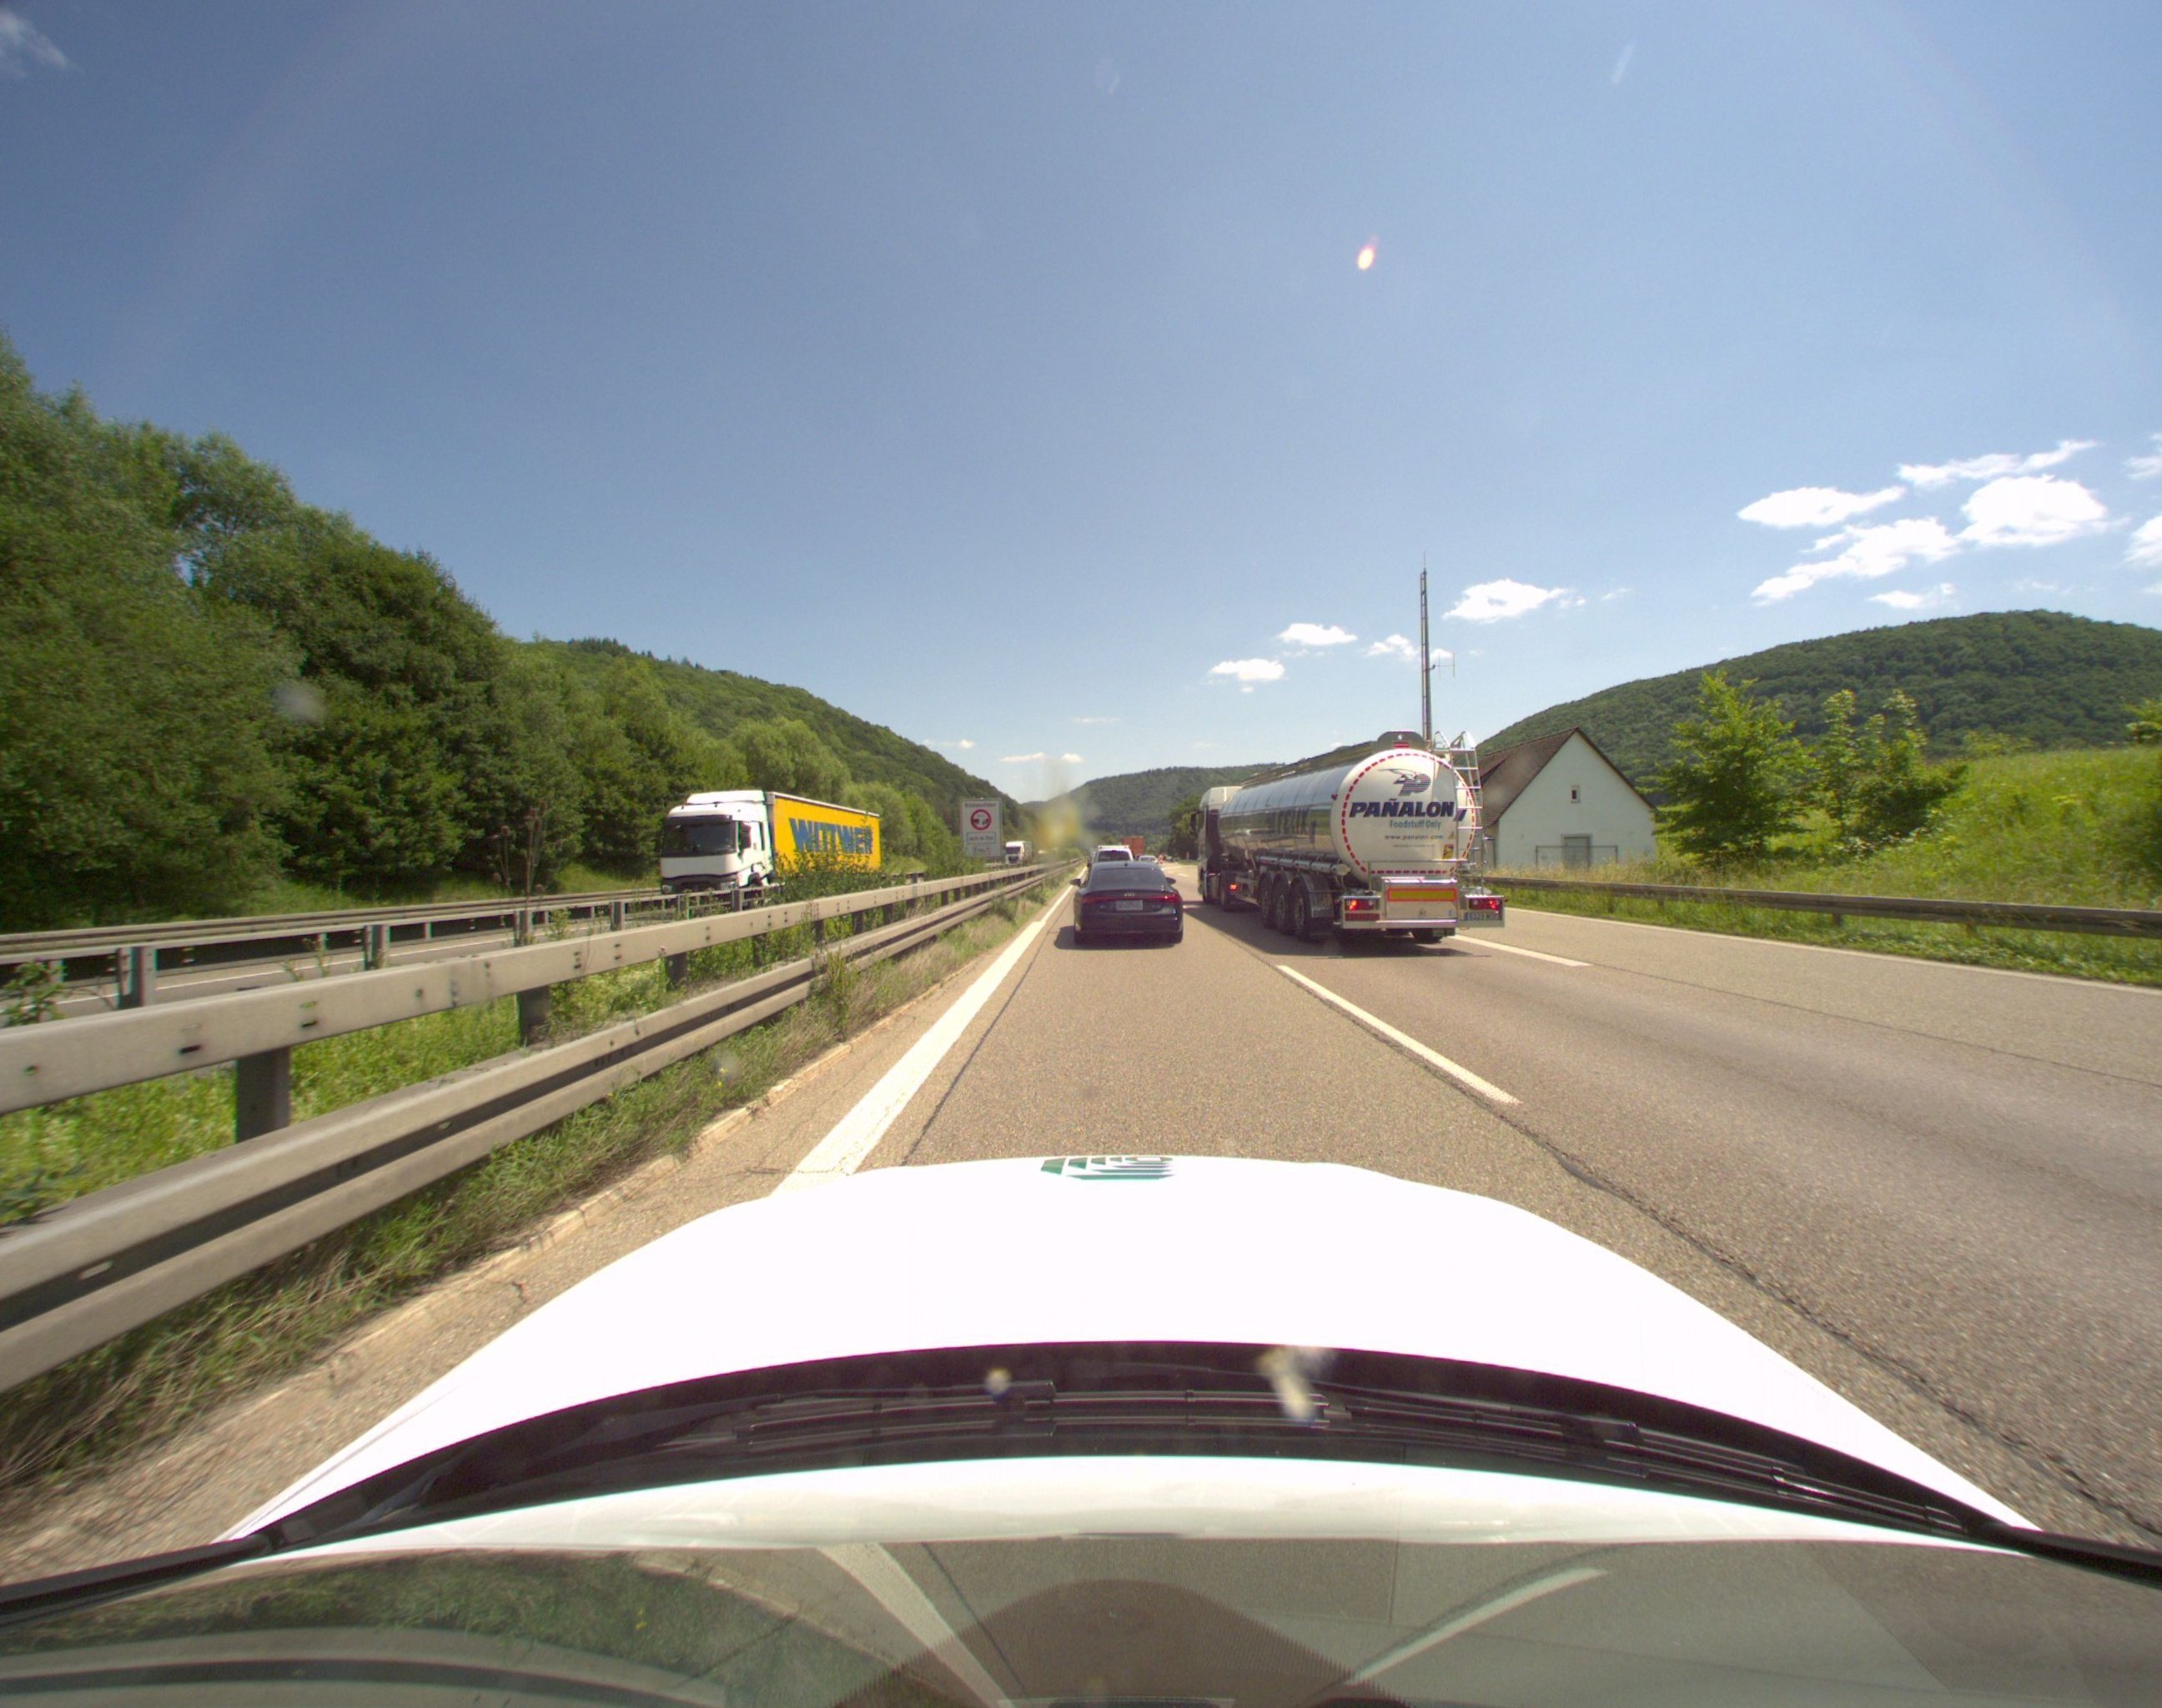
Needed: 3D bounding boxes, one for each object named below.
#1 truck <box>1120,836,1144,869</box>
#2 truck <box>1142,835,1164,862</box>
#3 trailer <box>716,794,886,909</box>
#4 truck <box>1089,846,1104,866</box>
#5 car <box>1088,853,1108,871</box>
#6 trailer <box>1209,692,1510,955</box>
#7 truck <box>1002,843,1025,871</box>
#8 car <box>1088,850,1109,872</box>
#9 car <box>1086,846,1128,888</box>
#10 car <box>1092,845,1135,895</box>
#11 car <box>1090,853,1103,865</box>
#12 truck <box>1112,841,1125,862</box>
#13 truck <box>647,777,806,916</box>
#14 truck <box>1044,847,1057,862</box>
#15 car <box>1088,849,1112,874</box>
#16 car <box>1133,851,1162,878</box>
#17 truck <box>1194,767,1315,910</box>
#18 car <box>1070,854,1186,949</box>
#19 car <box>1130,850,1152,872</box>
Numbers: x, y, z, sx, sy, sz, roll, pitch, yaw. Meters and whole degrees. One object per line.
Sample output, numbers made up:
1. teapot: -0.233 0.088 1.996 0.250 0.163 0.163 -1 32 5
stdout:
1. truck: 6.656 -0.123 107.821 2.807 4.003 14.961 -1 0 2
2. truck: 11.558 -0.829 131.827 2.807 4.003 14.961 -1 0 2
3. trailer: -11.320 -0.063 34.856 2.571 4.005 12.605 -1 0 2
4. truck: 2.900 0.329 148.853 2.619 3.440 11.424 -2 0 2
5. car: 1.605 0.704 76.101 1.705 1.618 4.002 -2 0 2
6. trailer: 4.920 -0.425 17.610 2.529 3.735 11.891 -1 0 1
7. truck: -9.906 0.494 120.465 2.718 4.001 5.371 -1 0 1
8. car: 1.692 0.689 79.833 1.987 2.013 4.000 -2 0 1
9. car: 1.280 0.630 41.311 1.986 2.014 4.001 -1 0 1
10. car: 1.248 0.598 32.075 1.570 1.833 4.001 -1 0 1
11. car: 2.169 0.744 114.802 1.705 1.618 4.002 -2 0 2
12. truck: 6.278 -0.351 137.743 1.986 3.447 11.814 -1 0 1
13. truck: -11.562 -0.213 27.228 2.538 4.090 5.852 -1 0 2
14. truck: -8.127 0.202 217.425 2.859 3.980 9.032 -1 0 1
15. car: 1.628 0.661 69.789 1.987 2.013 4.000 -2 0 1
16. car: 5.266 0.814 65.028 1.986 2.013 4.001 -1 0 1
17. truck: 4.953 -0.409 24.183 2.503 3.758 5.245 -1 0 0
18. car: 0.766 0.767 15.070 1.843 1.488 4.082 -1 0 0
19. car: 5.855 0.697 79.644 1.986 2.002 4.002 -2 0 2
